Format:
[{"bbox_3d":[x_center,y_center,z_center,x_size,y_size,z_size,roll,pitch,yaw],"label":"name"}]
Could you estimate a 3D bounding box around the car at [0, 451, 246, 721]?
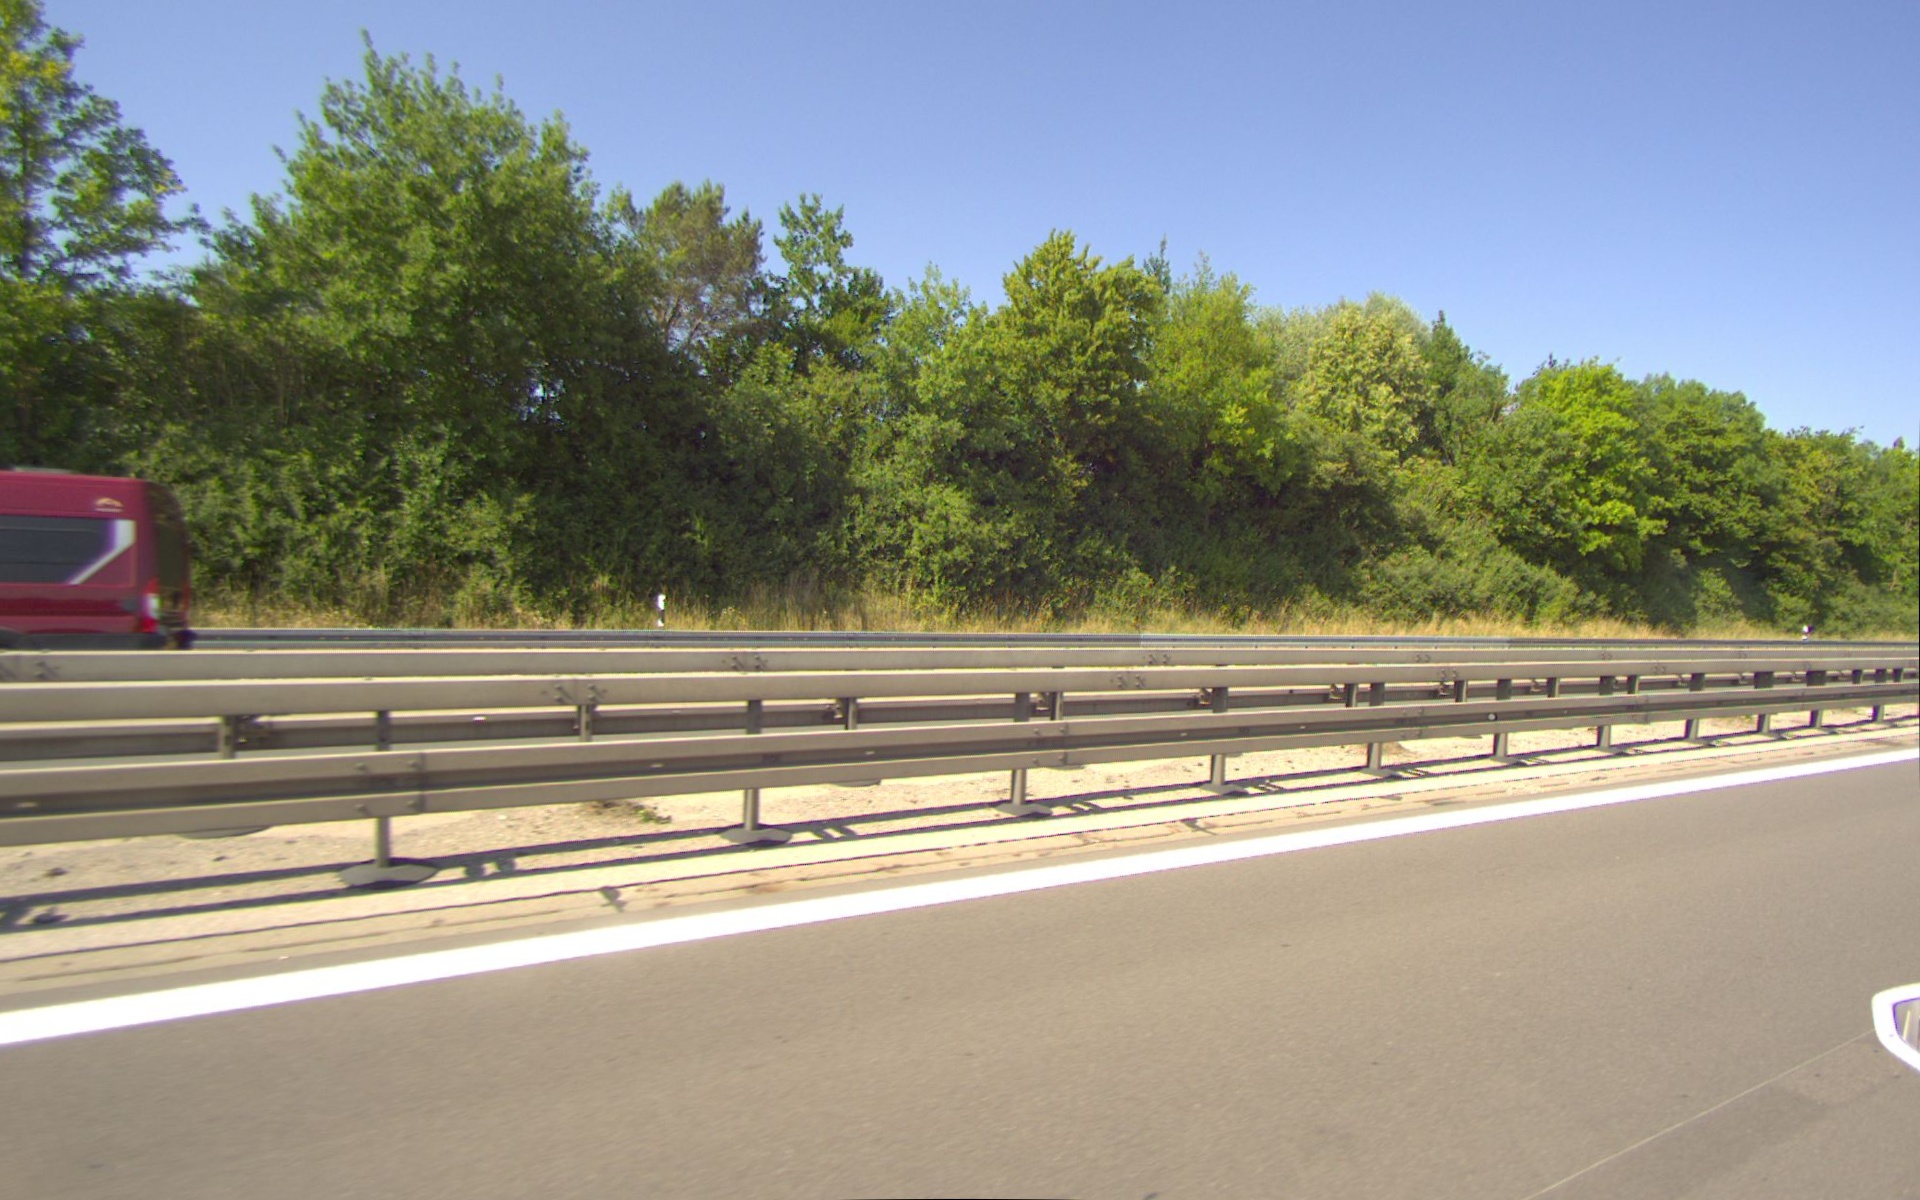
[{"bbox_3d":[-11.326,-0.205,10.076,6.516,2.630,2.531,1,1,-30],"label":"car"}]
